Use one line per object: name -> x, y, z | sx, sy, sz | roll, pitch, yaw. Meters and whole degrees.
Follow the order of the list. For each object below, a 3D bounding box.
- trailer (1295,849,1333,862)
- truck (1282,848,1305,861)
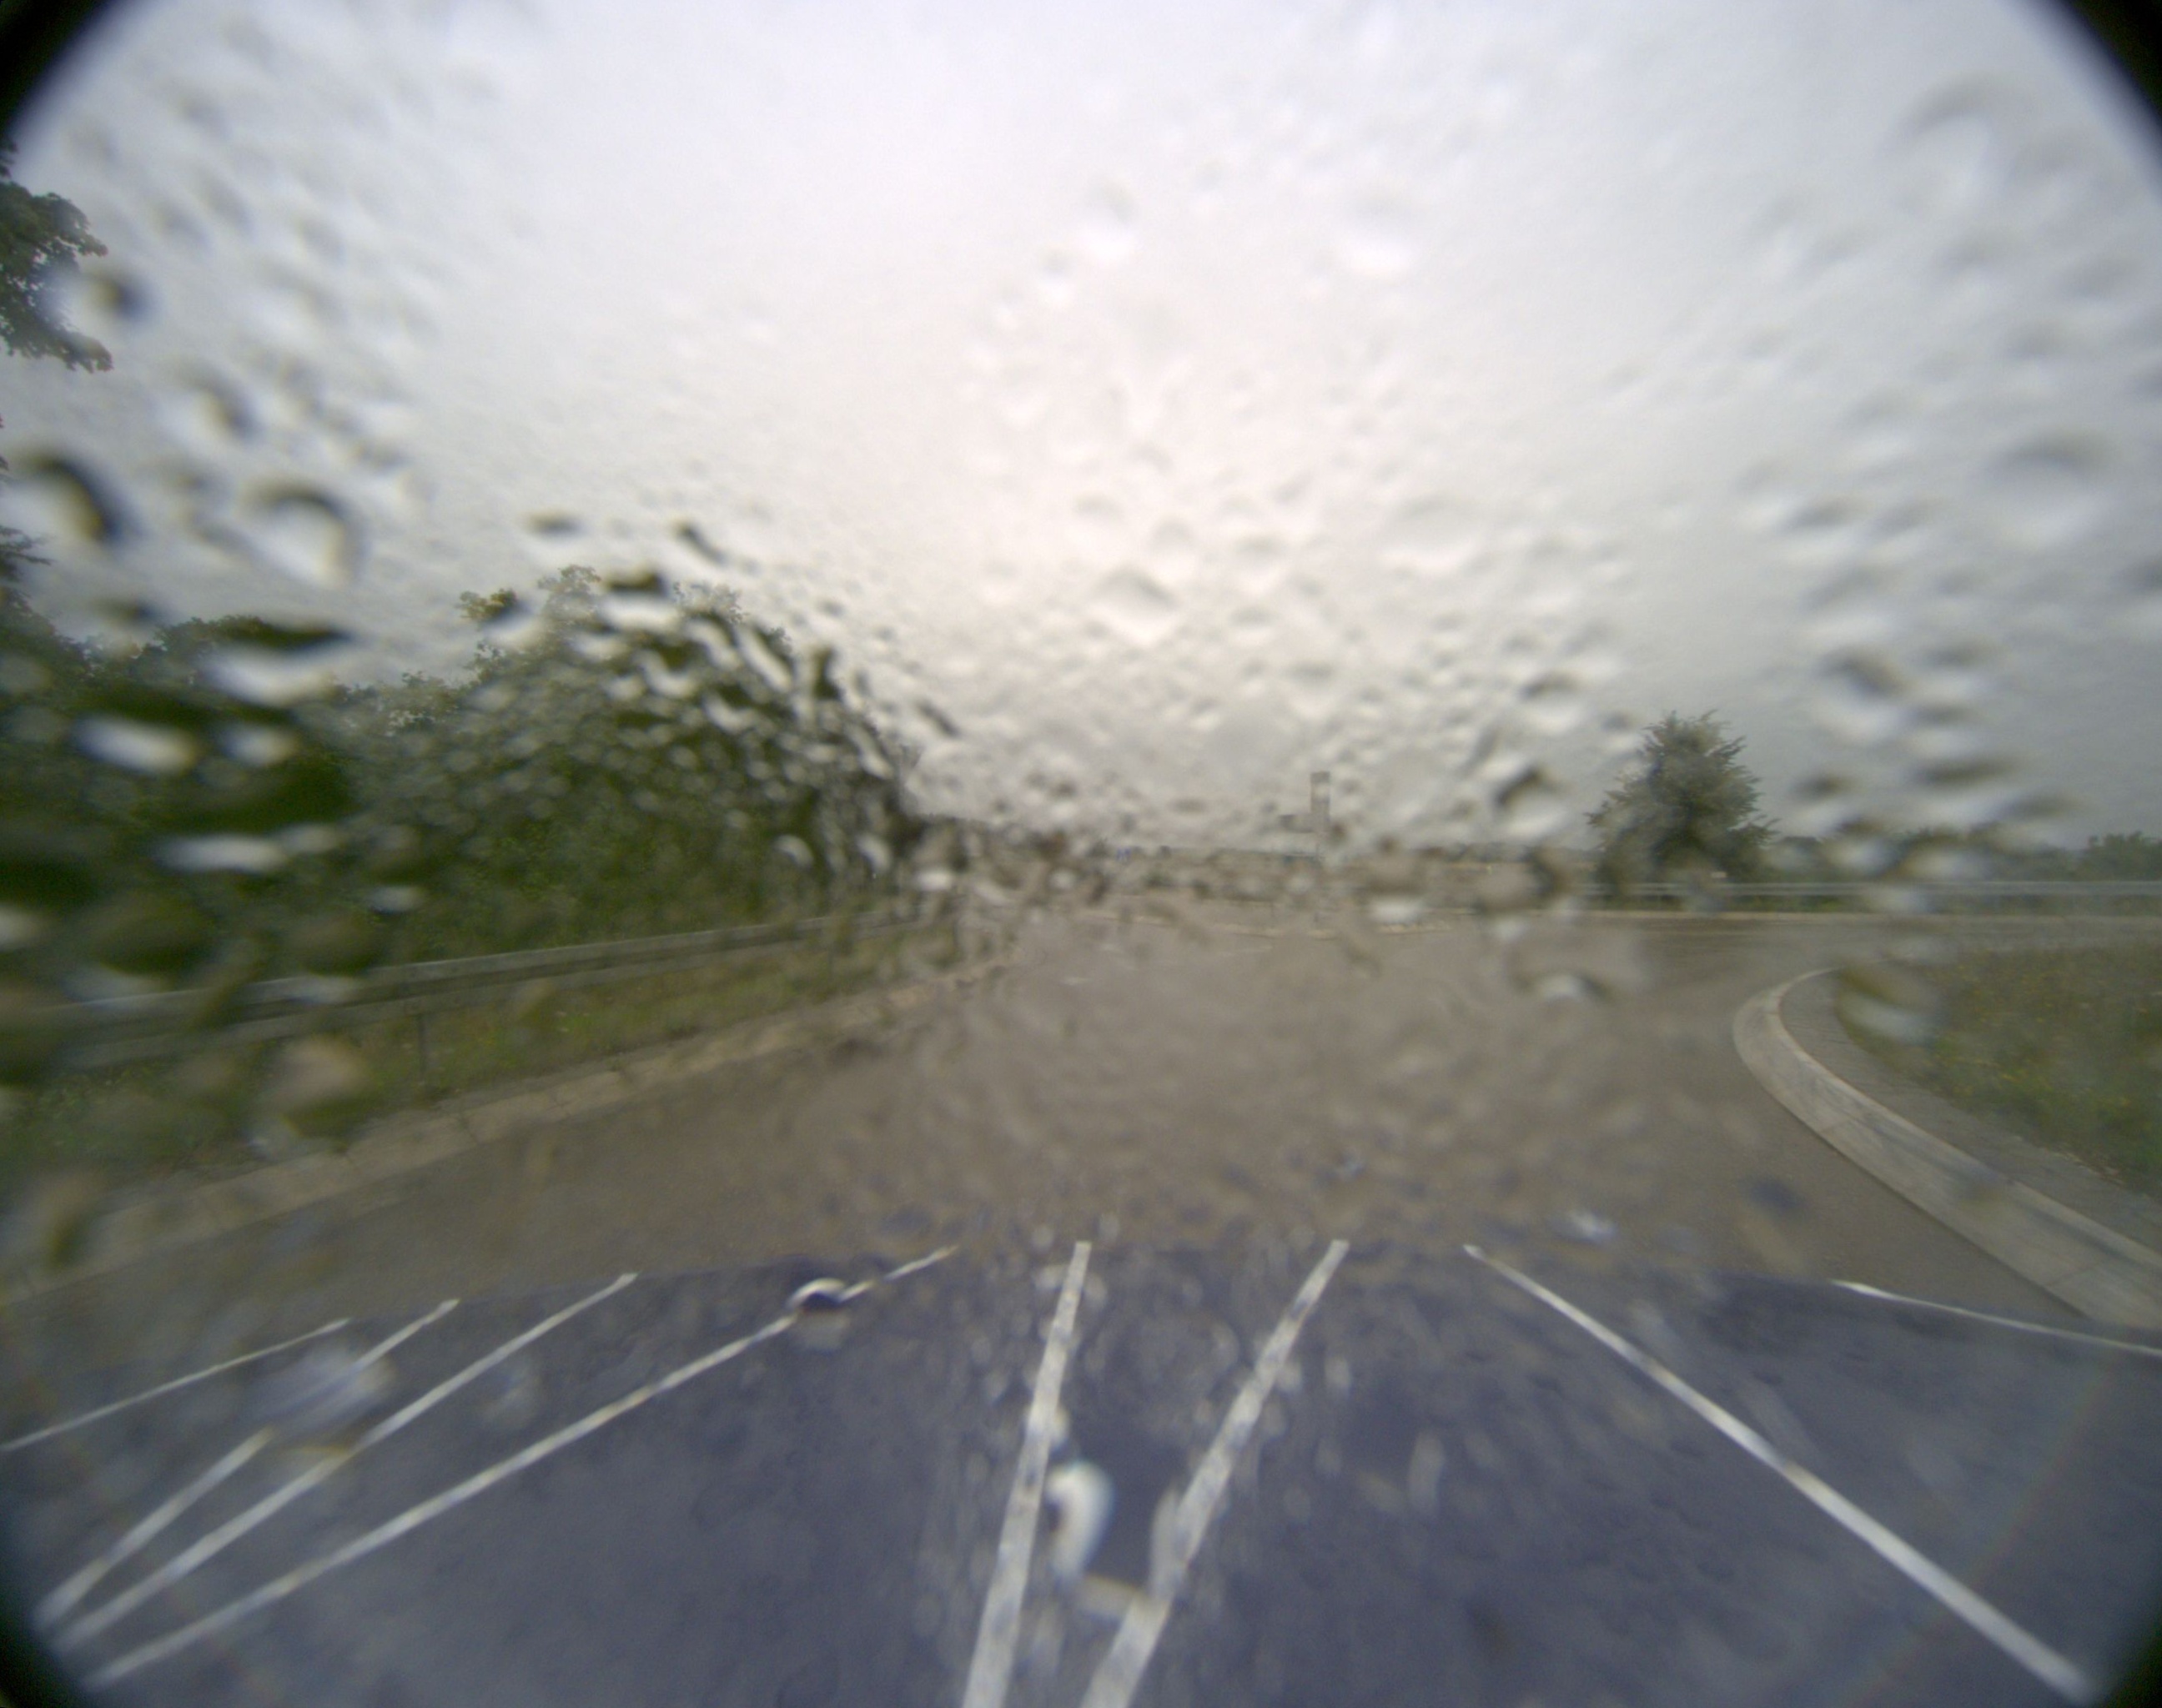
trailer -> 73.919, 0.353, 241.491 | 11.442, 3.867, 2.955 | 2, 4, 43
truck -> 68.829, 0.208, 246.249 | 6.257, 3.893, 2.955 | 2, 4, 43
